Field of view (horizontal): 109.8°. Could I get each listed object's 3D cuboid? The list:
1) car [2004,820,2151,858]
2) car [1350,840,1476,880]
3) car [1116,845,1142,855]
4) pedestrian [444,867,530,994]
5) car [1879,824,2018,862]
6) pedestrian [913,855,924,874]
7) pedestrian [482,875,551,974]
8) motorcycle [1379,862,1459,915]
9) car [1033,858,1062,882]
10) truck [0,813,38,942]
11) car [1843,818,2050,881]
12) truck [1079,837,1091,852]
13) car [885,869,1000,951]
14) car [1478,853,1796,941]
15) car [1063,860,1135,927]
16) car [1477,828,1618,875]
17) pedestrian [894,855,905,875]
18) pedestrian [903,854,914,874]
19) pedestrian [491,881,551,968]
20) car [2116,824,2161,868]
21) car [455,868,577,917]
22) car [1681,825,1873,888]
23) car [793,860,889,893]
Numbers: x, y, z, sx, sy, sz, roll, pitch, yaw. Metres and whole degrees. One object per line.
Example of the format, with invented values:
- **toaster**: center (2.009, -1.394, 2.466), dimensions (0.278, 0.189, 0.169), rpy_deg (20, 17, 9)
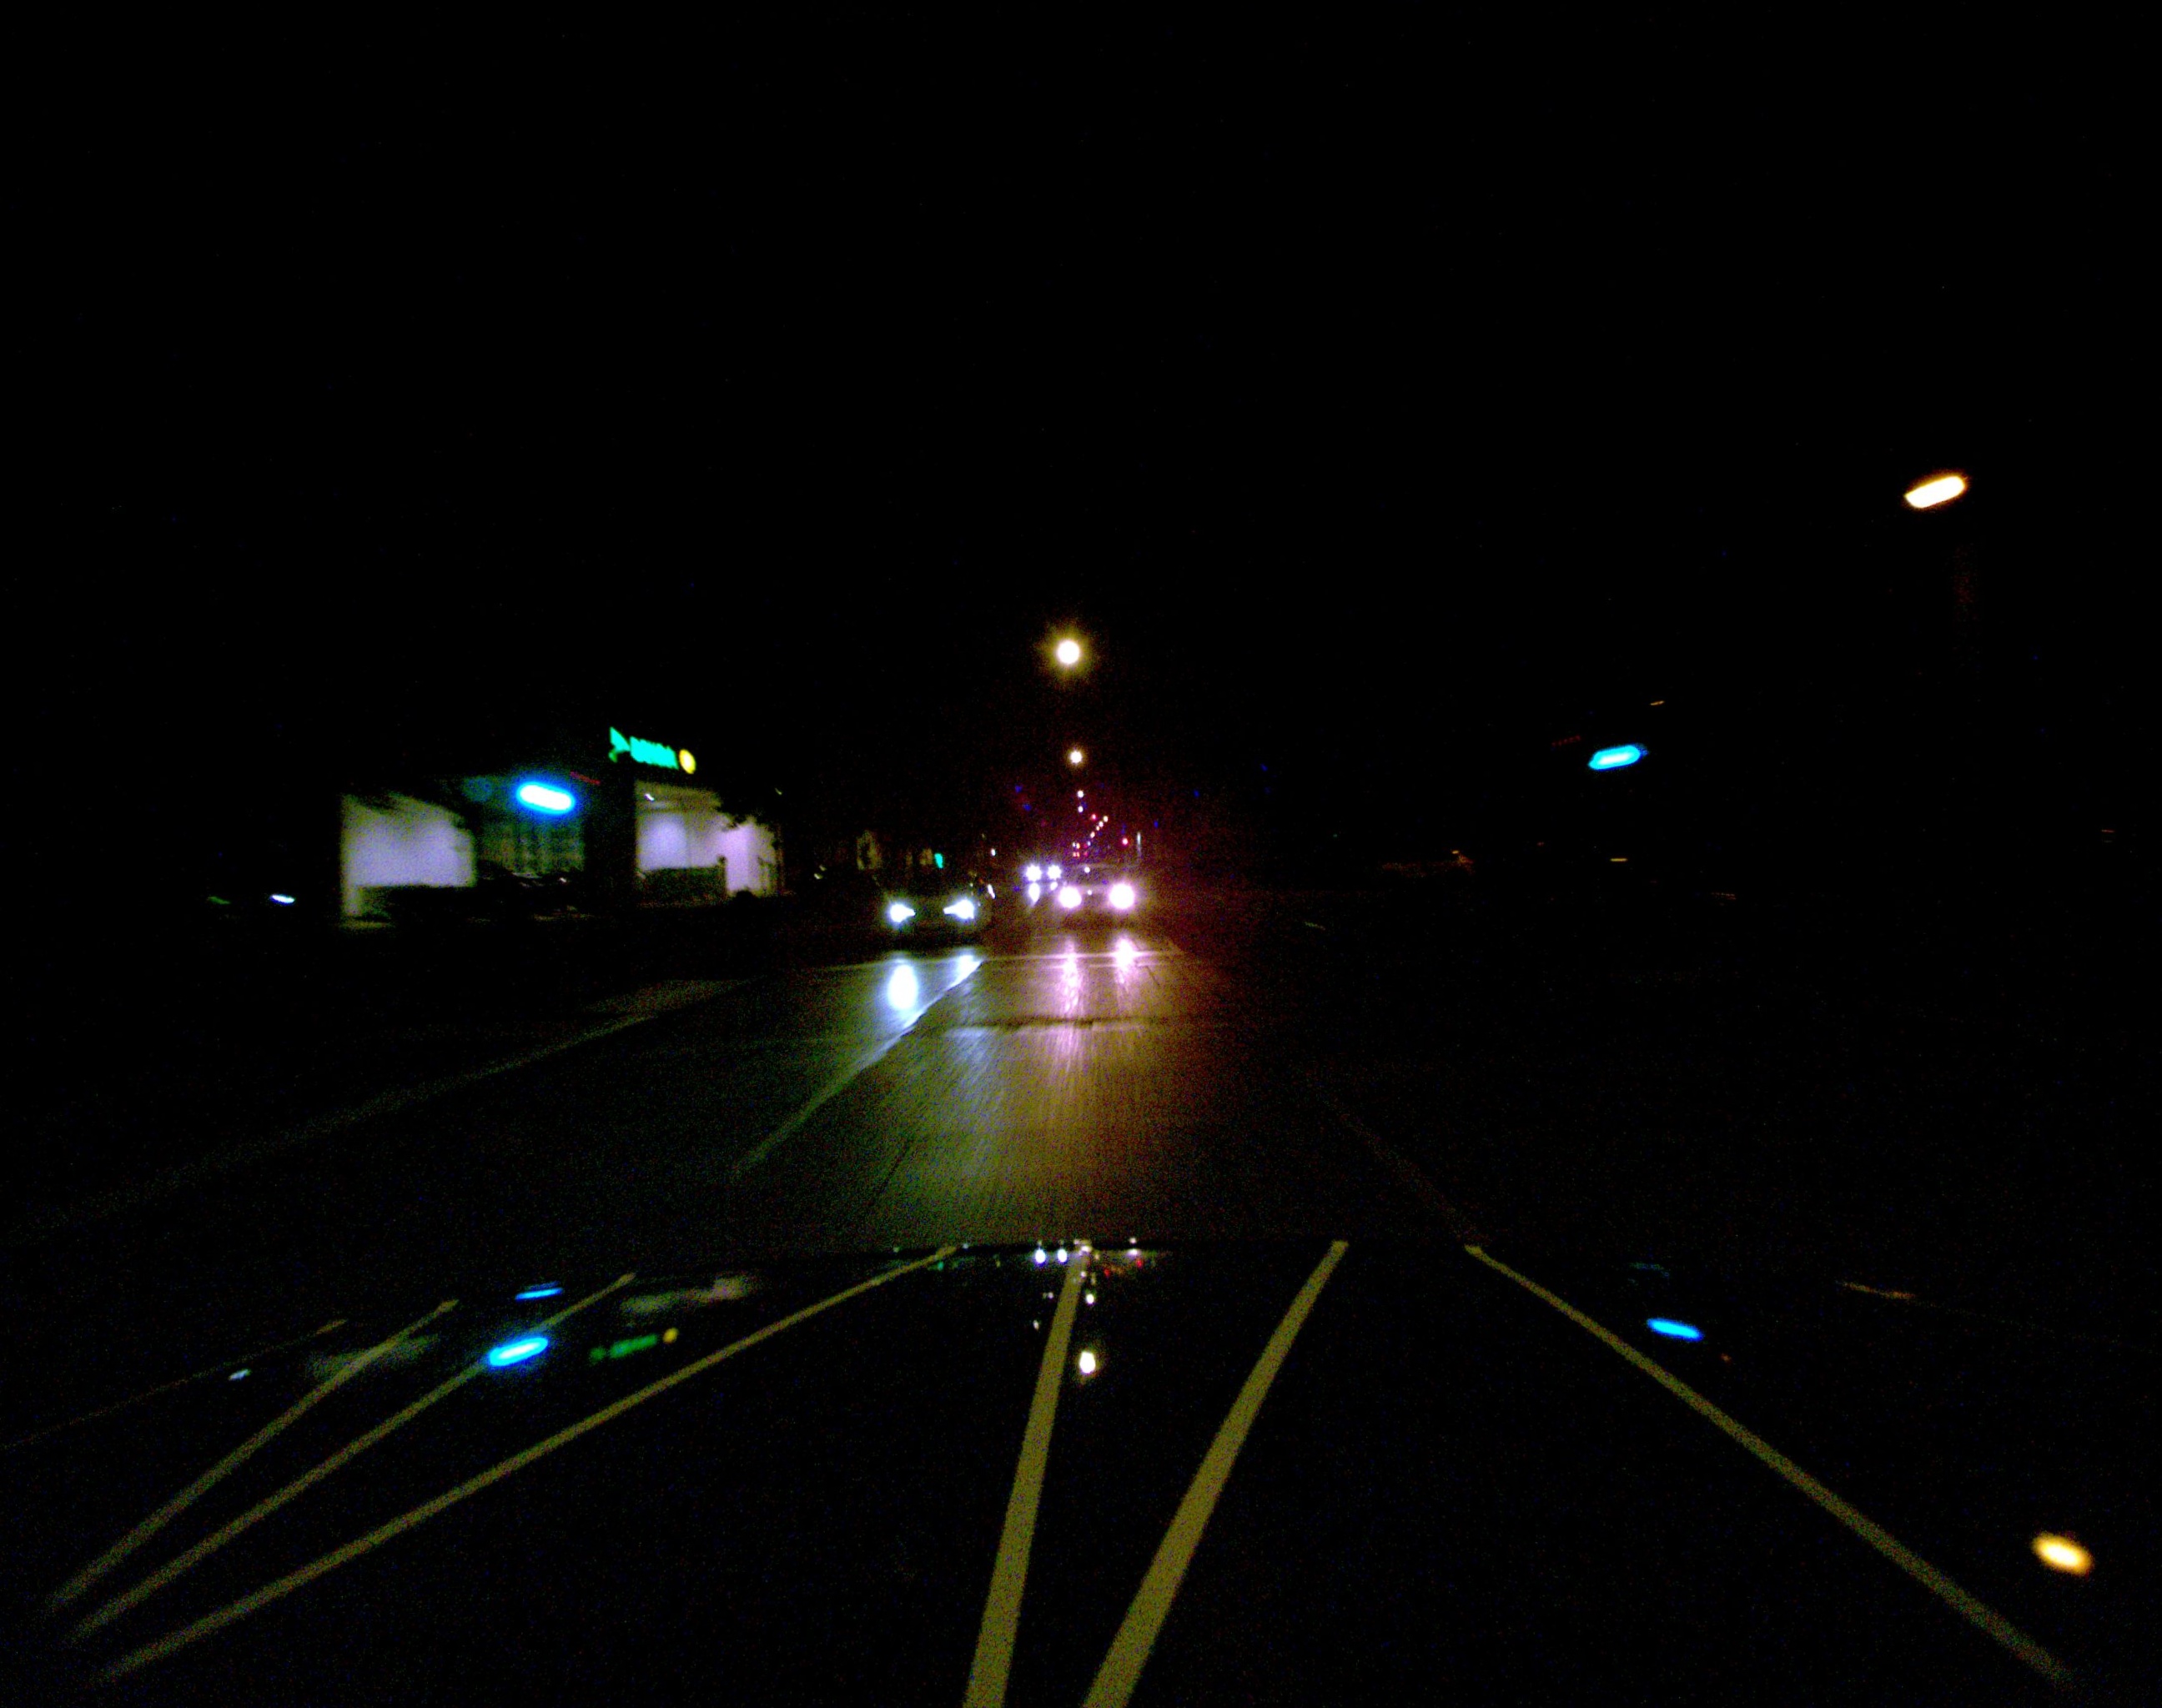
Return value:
- **car**: center (43.999, -0.647, 33.631), dimensions (3.996, 1.496, 1.828), rpy_deg (-2, 0, 2)
- **car**: center (14.557, 0.232, 33.453), dimensions (4.672, 1.620, 2.003), rpy_deg (-1, 1, -2)
- **car**: center (7.019, -0.568, 110.931), dimensions (3.624, 1.259, 1.620), rpy_deg (-3, 1, 0)
- **pedestrian**: center (-8.904, 1.120, 11.416), dimensions (0.623, 1.801, 0.759), rpy_deg (-1, 1, 1)
- **car**: center (38.423, -0.476, 33.719), dimensions (3.997, 1.496, 1.903), rpy_deg (-2, 0, -1)
- **pedestrian**: center (-14.684, 0.928, 68.564), dimensions (0.737, 1.707, 0.985), rpy_deg (-1, 1, 1)
- **pedestrian**: center (-9.736, 1.203, 13.123), dimensions (0.622, 1.629, 0.679), rpy_deg (-1, 1, 1)
- **motorcycle**: center (8.114, 0.807, 18.345), dimensions (0.574, 1.173, 2.029), rpy_deg (-2, 1, -17)
- **car**: center (-2.245, 1.044, 51.648), dimensions (1.729, 1.455, 3.999), rpy_deg (-2, 1, 0)
- **truck**: center (-41.590, 0.924, 22.340), dimensions (16.823, 3.961, 3.130), rpy_deg (-1, 2, -1)
- **car**: center (28.083, -0.191, 24.781), dimensions (4.349, 1.745, 1.960), rpy_deg (-2, 4, 2)
- **truck**: center (1.259, -3.083, 240.042), dimensions (3.517, 4.558, 9.038), rpy_deg (-3, 1, 0)
- **car**: center (-3.014, 1.174, 17.485), dimensions (1.729, 1.421, 4.498), rpy_deg (-3, 1, 1)
- **car**: center (10.681, 0.707, 15.046), dimensions (1.896, 1.416, 4.718), rpy_deg (-1, 1, -31)
- **car**: center (0.485, 0.939, 19.682), dimensions (1.634, 1.430, 3.840), rpy_deg (-2, 1, 2)
- **car**: center (20.623, -0.103, 33.709), dimensions (5.001, 1.879, 2.028), rpy_deg (-2, 0, -1)
- **pedestrian**: center (-16.425, 0.998, 68.730), dimensions (0.676, 1.806, 0.906), rpy_deg (-1, 1, 1)
- **pedestrian**: center (-15.646, 0.938, 68.835), dimensions (0.721, 1.778, 0.970), rpy_deg (-1, 1, 1)
- **pedestrian**: center (-10.291, 1.277, 13.989), dimensions (0.574, 1.525, 0.633), rpy_deg (-1, 1, 1)
- **car**: center (37.511, -0.308, 25.089), dimensions (4.210, 1.448, 1.922), rpy_deg (-1, 1, -3)
- **car**: center (-21.783, 1.422, 29.518), dimensions (1.731, 1.587, 3.998), rpy_deg (-1, 1, -1)
- **car**: center (22.477, 0.059, 24.680), dimensions (4.349, 1.744, 1.956), rpy_deg (-3, 3, 2)
- **car**: center (-11.690, 1.083, 37.179), dimensions (4.092, 1.446, 1.786), rpy_deg (-1, 1, 0)
